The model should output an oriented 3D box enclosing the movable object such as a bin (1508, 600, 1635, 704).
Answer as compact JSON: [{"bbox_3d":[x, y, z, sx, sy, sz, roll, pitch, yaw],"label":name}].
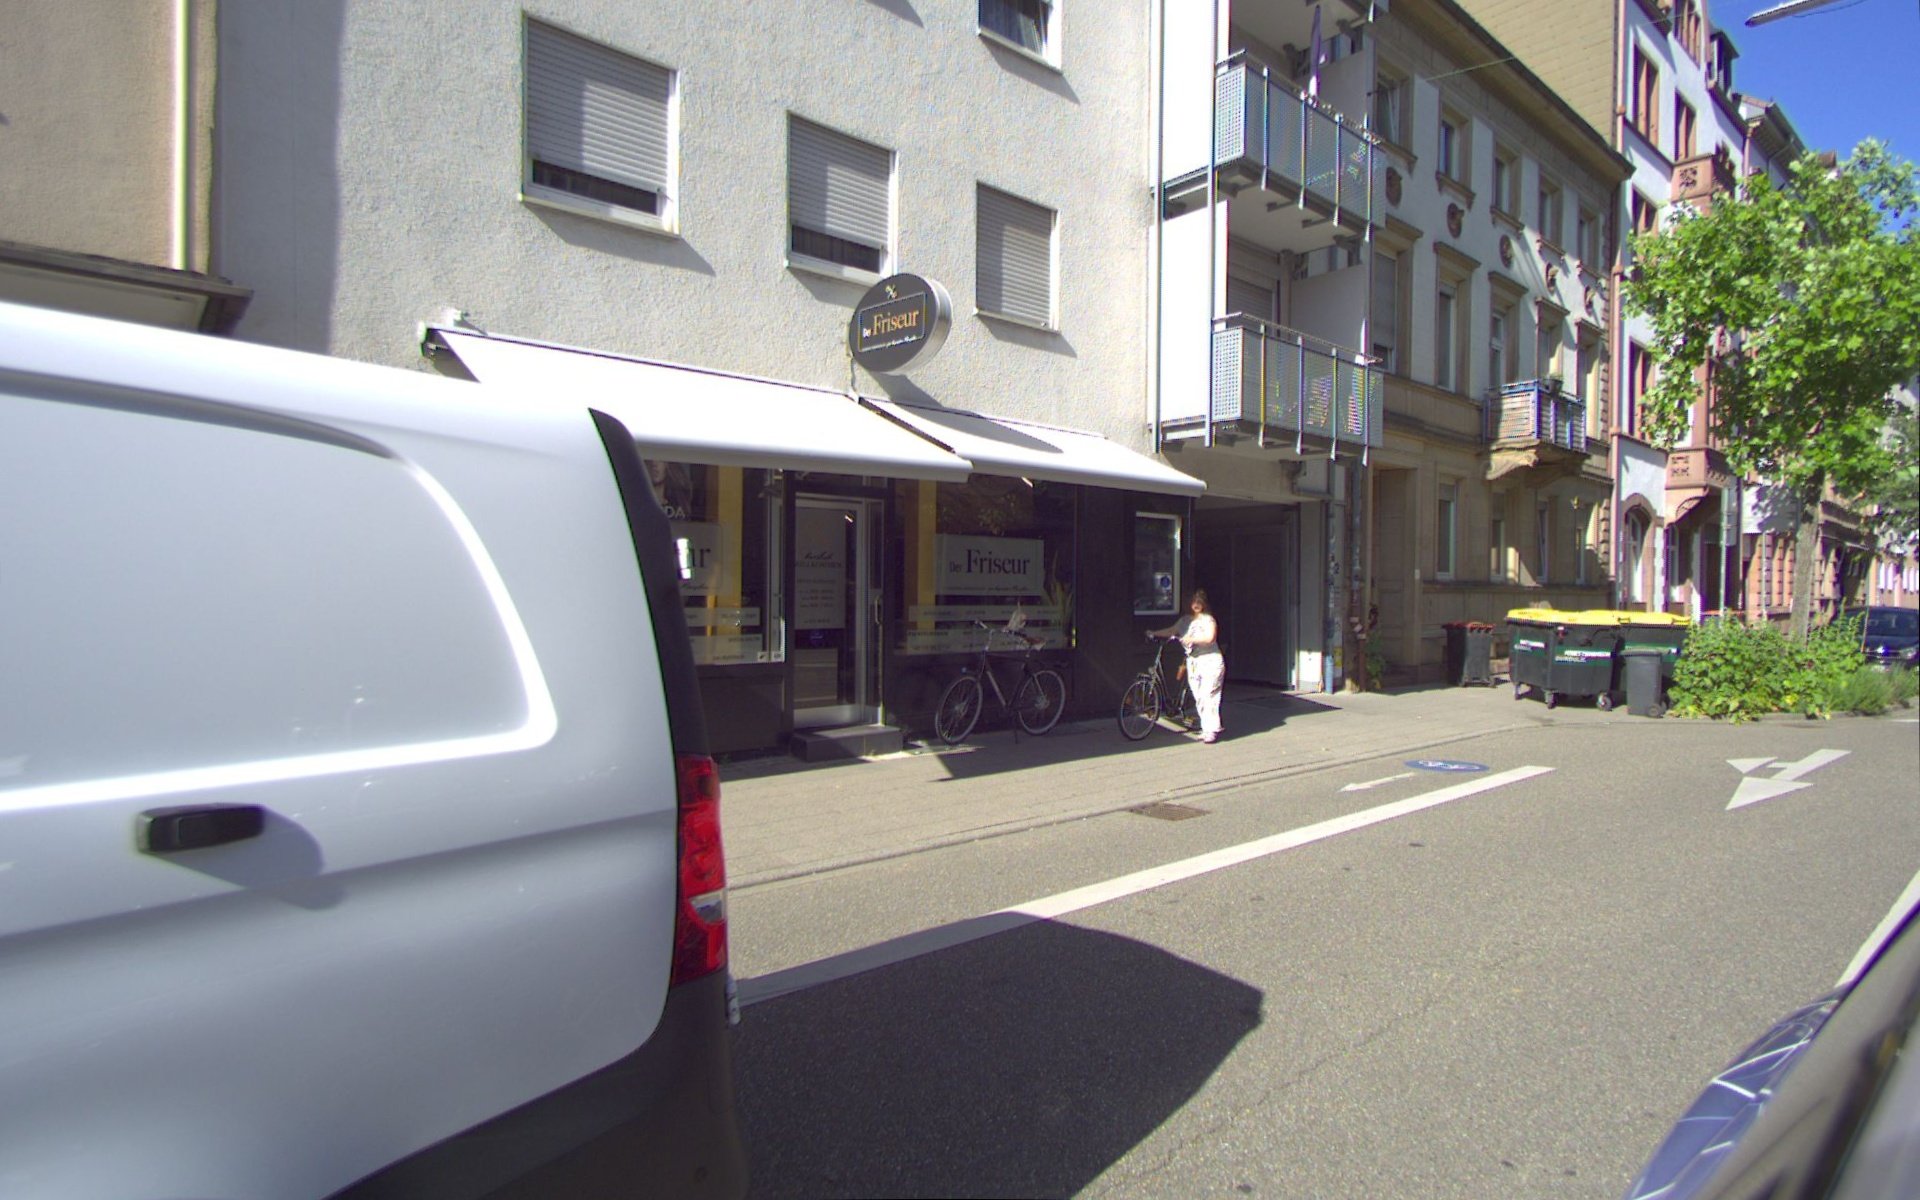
[{"bbox_3d":[8.685,0.707,14.447,1.030,1.341,1.216,1,3,1],"label":"movable object such as a bin"}]

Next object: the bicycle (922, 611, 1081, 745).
[{"bbox_3d":[0.446,0.722,9.973,1.760,1.193,0.402,0,0,-41],"label":"bicycle"}]

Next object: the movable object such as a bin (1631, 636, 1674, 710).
[{"bbox_3d":[9.414,0.977,13.756,0.399,0.933,0.478,3,3,41],"label":"movable object such as a bin"}]

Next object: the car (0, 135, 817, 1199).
[{"bbox_3d":[-2.668,0.461,0.736,4.911,1.892,1.839,0,1,-42],"label":"car"}]

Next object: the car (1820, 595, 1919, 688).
[{"bbox_3d":[16.680,0.683,18.084,3.293,1.510,1.550,0,1,-41],"label":"car"}]

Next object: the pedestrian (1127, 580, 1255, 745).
[{"bbox_3d":[2.387,0.601,10.464,0.930,1.556,0.825,0,4,-41],"label":"pedestrian"}]

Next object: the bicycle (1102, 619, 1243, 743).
[{"bbox_3d":[2.243,0.803,10.566,1.760,1.146,0.402,0,4,-41],"label":"bicycle"}]

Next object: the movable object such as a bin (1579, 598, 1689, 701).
[{"bbox_3d":[9.801,0.692,14.770,0.943,1.365,1.066,1,3,11],"label":"movable object such as a bin"}]

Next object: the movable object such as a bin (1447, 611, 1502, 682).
[{"bbox_3d":[8.375,0.748,16.493,0.557,1.094,0.617,1,3,1],"label":"movable object such as a bin"}]
